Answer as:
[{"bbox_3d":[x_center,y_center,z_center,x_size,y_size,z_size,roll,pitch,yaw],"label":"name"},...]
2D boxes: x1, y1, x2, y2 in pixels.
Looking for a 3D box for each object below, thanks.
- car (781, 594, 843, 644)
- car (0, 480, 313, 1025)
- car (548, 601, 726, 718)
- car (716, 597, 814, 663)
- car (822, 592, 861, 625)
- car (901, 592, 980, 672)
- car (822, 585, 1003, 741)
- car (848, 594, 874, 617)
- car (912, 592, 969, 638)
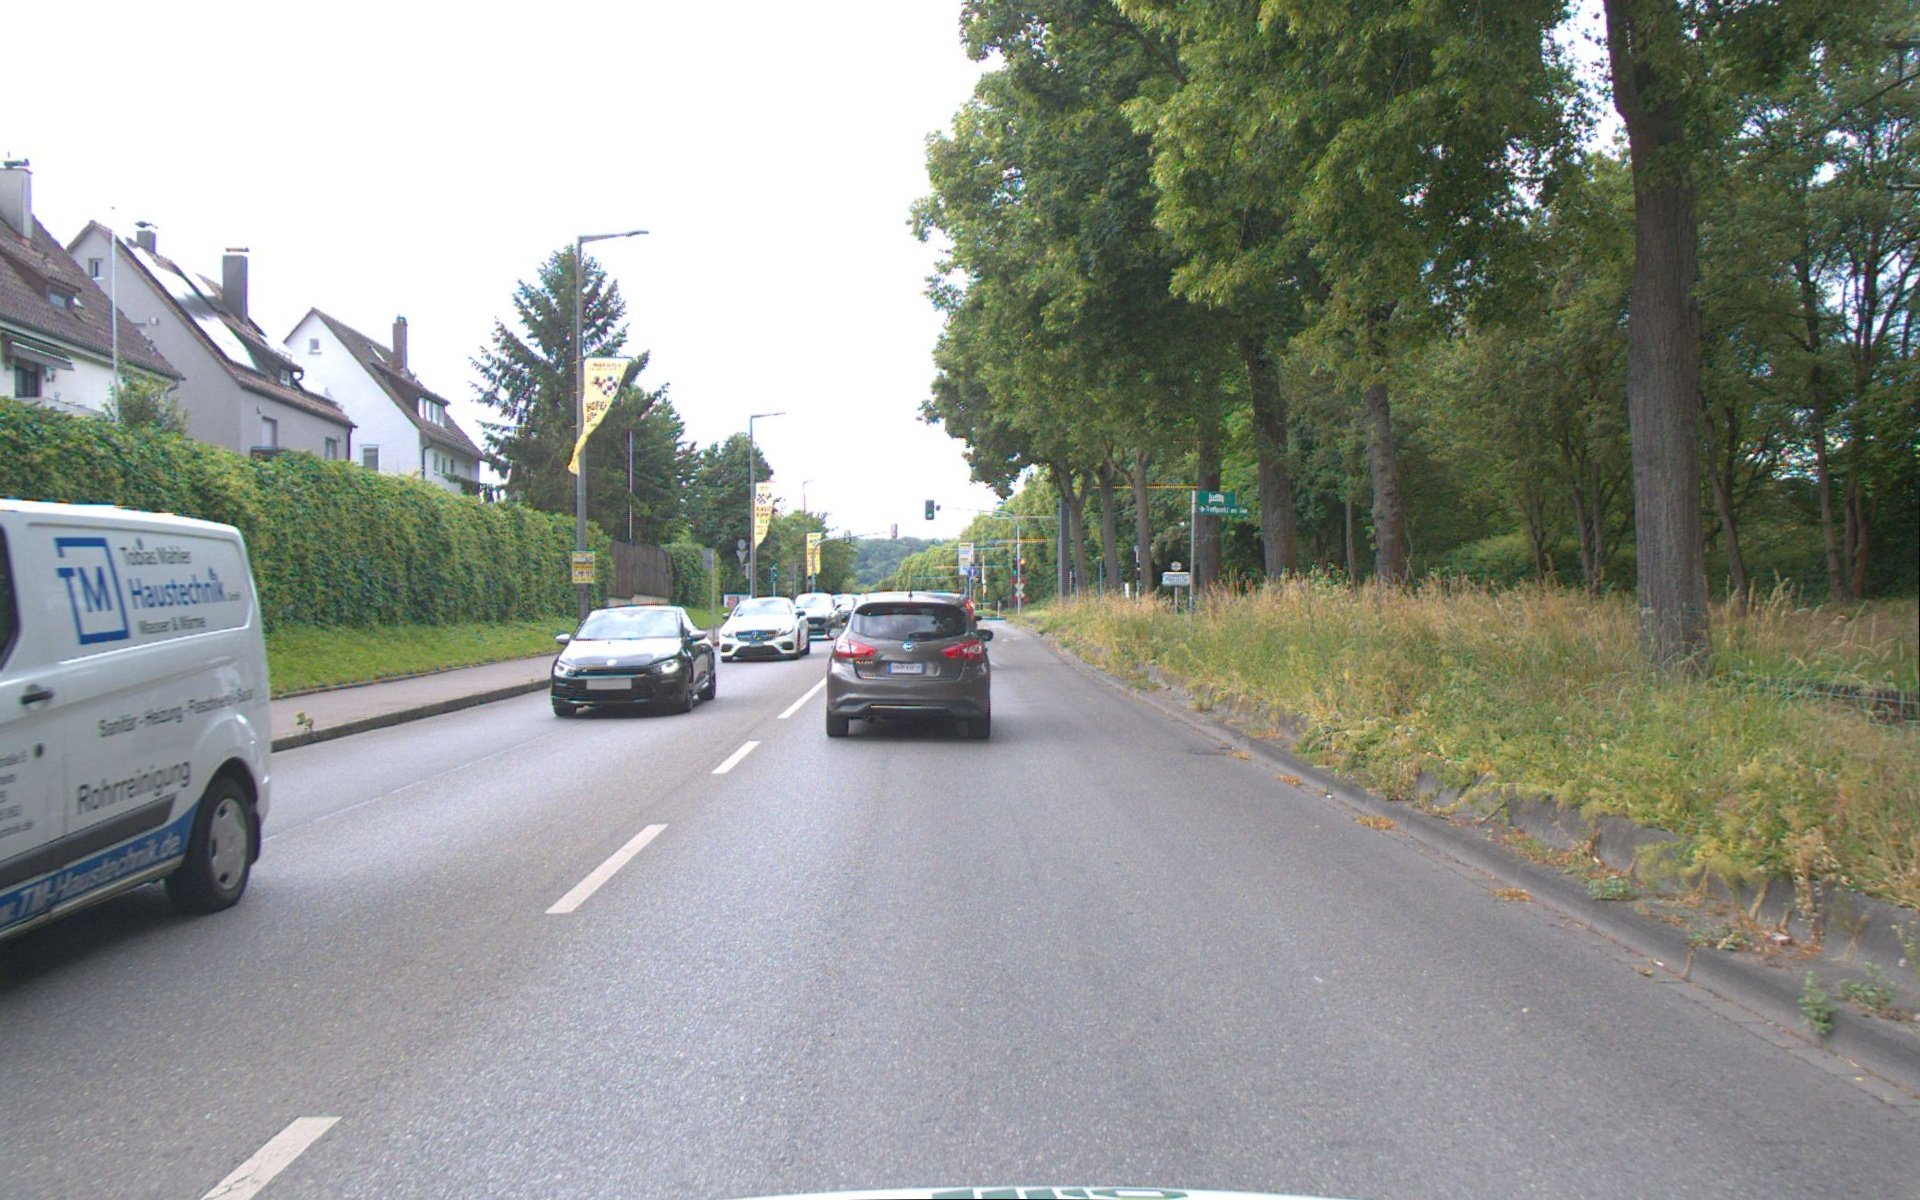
[{"bbox_3d":[-5.008,0.611,56.284,1.716,1.545,4.000,-3,0,-1],"label":"car"},{"bbox_3d":[-4.434,0.570,6.648,1.868,1.966,4.908,-1,0,-2],"label":"car"},{"bbox_3d":[-4.316,0.737,22.695,1.617,1.371,4.476,-2,0,-1],"label":"car"},{"bbox_3d":[-4.600,0.668,39.620,1.848,1.407,4.490,-2,0,-1],"label":"car"},{"bbox_3d":[-5.802,0.402,81.176,1.693,1.490,4.152,-2,0,-1],"label":"car"},{"bbox_3d":[-0.402,0.600,33.795,1.507,1.504,3.763,-1,0,-1],"label":"car"},{"bbox_3d":[-0.511,0.624,18.936,1.798,1.545,4.482,1,0,-1],"label":"car"},{"bbox_3d":[-7.177,0.384,120.136,1.776,1.550,4.175,-2,0,-3],"label":"car"},{"bbox_3d":[-0.636,0.462,53.621,1.755,1.421,3.999,-1,0,-1],"label":"car"}]
